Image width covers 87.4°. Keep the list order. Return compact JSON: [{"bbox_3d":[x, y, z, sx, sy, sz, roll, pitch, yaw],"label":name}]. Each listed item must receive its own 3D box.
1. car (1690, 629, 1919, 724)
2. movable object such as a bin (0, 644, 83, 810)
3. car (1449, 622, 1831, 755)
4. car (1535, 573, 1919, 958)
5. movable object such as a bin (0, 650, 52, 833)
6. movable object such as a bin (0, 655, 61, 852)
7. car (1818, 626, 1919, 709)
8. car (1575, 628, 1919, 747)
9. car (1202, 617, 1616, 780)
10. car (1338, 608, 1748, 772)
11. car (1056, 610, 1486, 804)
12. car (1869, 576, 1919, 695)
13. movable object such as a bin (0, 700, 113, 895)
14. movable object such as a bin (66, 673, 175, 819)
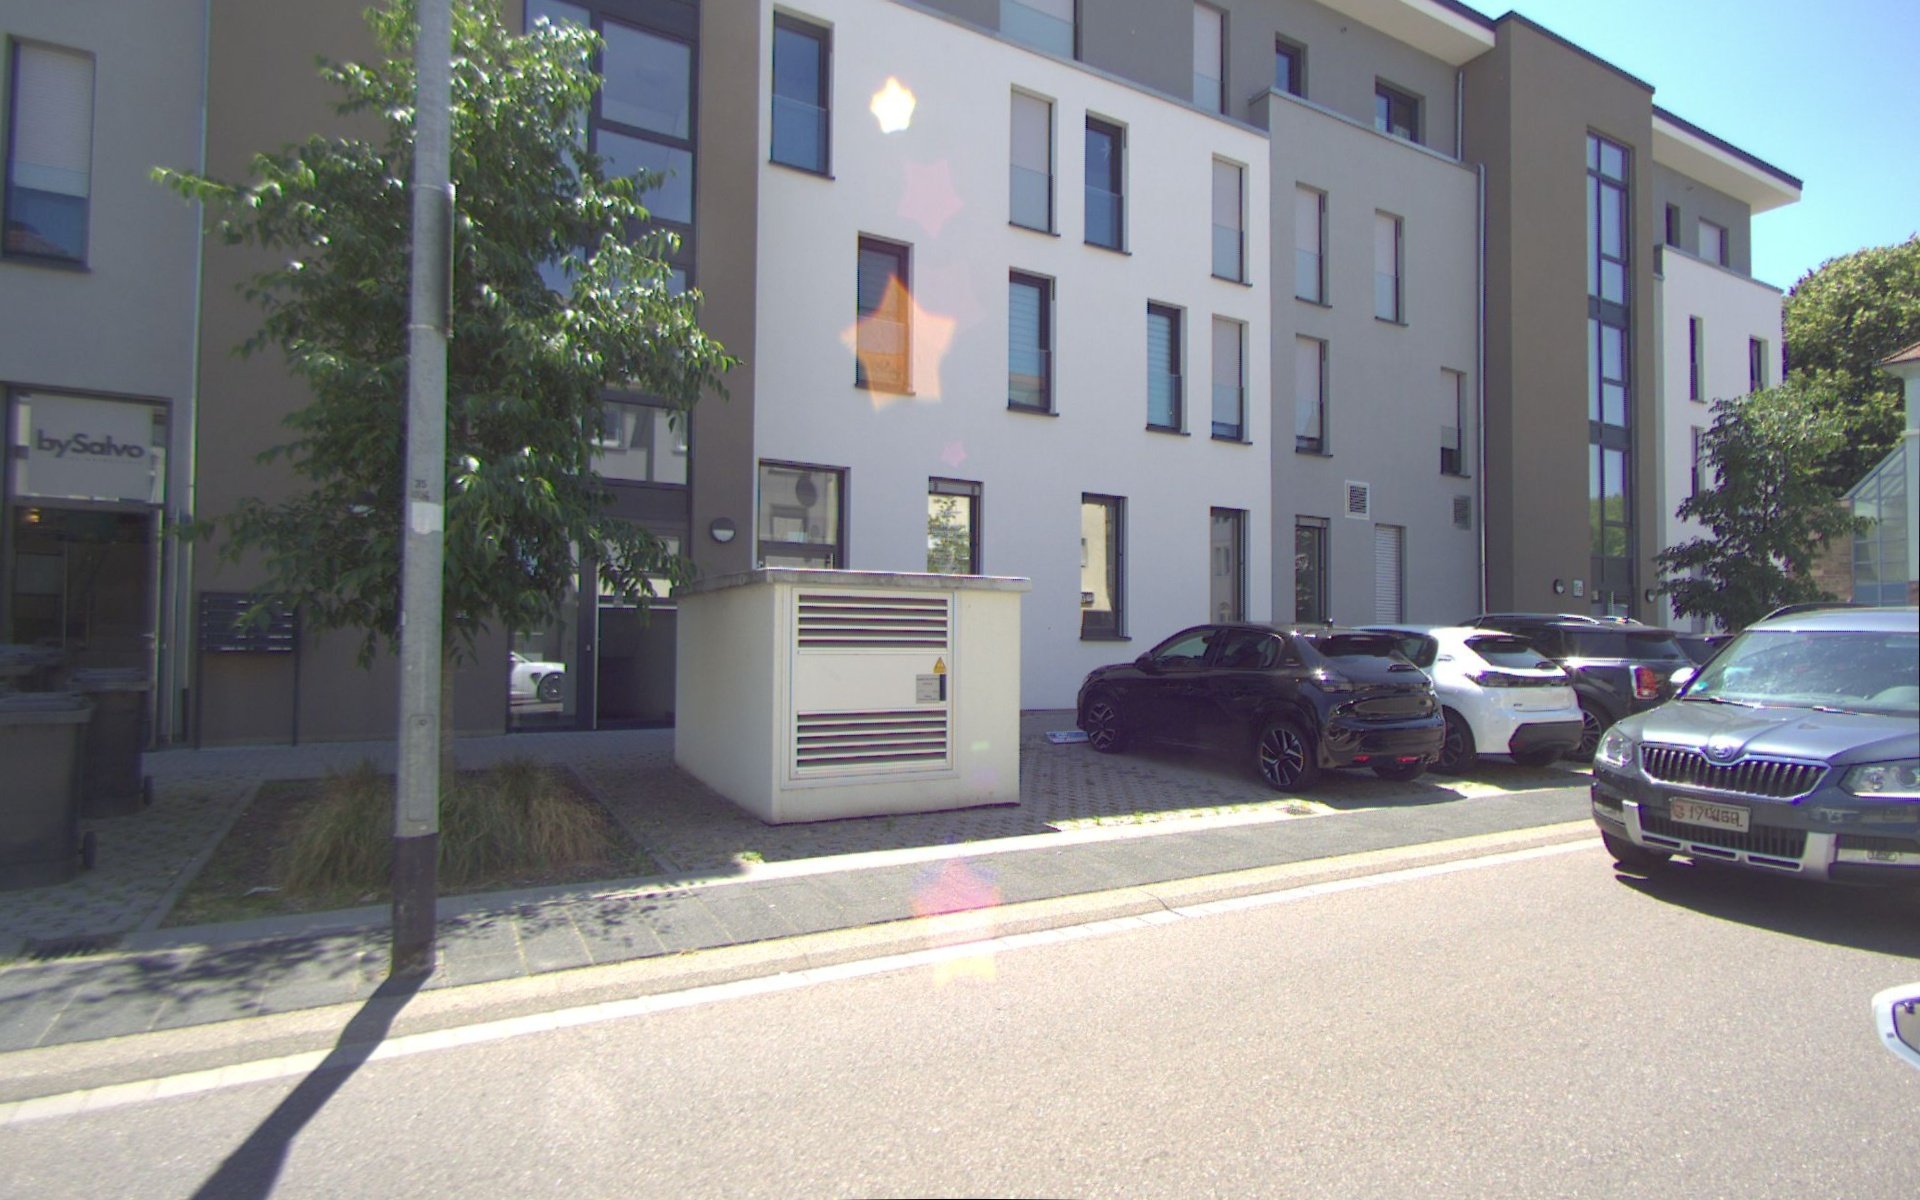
[{"bbox_3d":[15.495,1.287,17.444,1.866,1.456,4.175,2,-1,-33],"label":"car"},{"bbox_3d":[-6.271,0.830,6.760,0.548,1.052,0.479,-1,-2,44],"label":"movable object such as a bin"},{"bbox_3d":[9.324,1.124,14.148,1.974,1.516,4.018,2,-1,-26],"label":"car"},{"bbox_3d":[5.634,0.813,6.264,4.028,1.724,1.802,2,-1,-30],"label":"car"},{"bbox_3d":[-5.833,0.831,5.994,0.569,1.052,0.547,-1,-2,44],"label":"movable object such as a bin"},{"bbox_3d":[-5.412,0.839,5.590,0.548,1.052,0.542,-1,-2,44],"label":"movable object such as a bin"},{"bbox_3d":[20.107,1.376,19.827,1.976,1.612,4.434,2,-1,-29],"label":"car"},{"bbox_3d":[11.839,1.196,15.084,1.974,1.449,4.018,2,-1,-26],"label":"car"},{"bbox_3d":[4.828,0.963,11.392,1.886,1.440,3.971,2,-1,-28],"label":"car"},{"bbox_3d":[7.023,0.967,12.569,1.974,1.673,4.018,2,-1,-26],"label":"car"},{"bbox_3d":[2.901,0.899,10.252,1.975,1.535,3.972,2,-1,-27],"label":"car"},{"bbox_3d":[24.304,0.858,22.267,2.263,2.768,5.745,2,-1,-28],"label":"car"},{"bbox_3d":[-4.645,0.971,5.080,0.548,0.879,0.479,-1,-2,44],"label":"movable object such as a bin"},{"bbox_3d":[-5.559,0.939,6.651,0.548,0.879,0.479,-1,-2,44],"label":"movable object such as a bin"}]
